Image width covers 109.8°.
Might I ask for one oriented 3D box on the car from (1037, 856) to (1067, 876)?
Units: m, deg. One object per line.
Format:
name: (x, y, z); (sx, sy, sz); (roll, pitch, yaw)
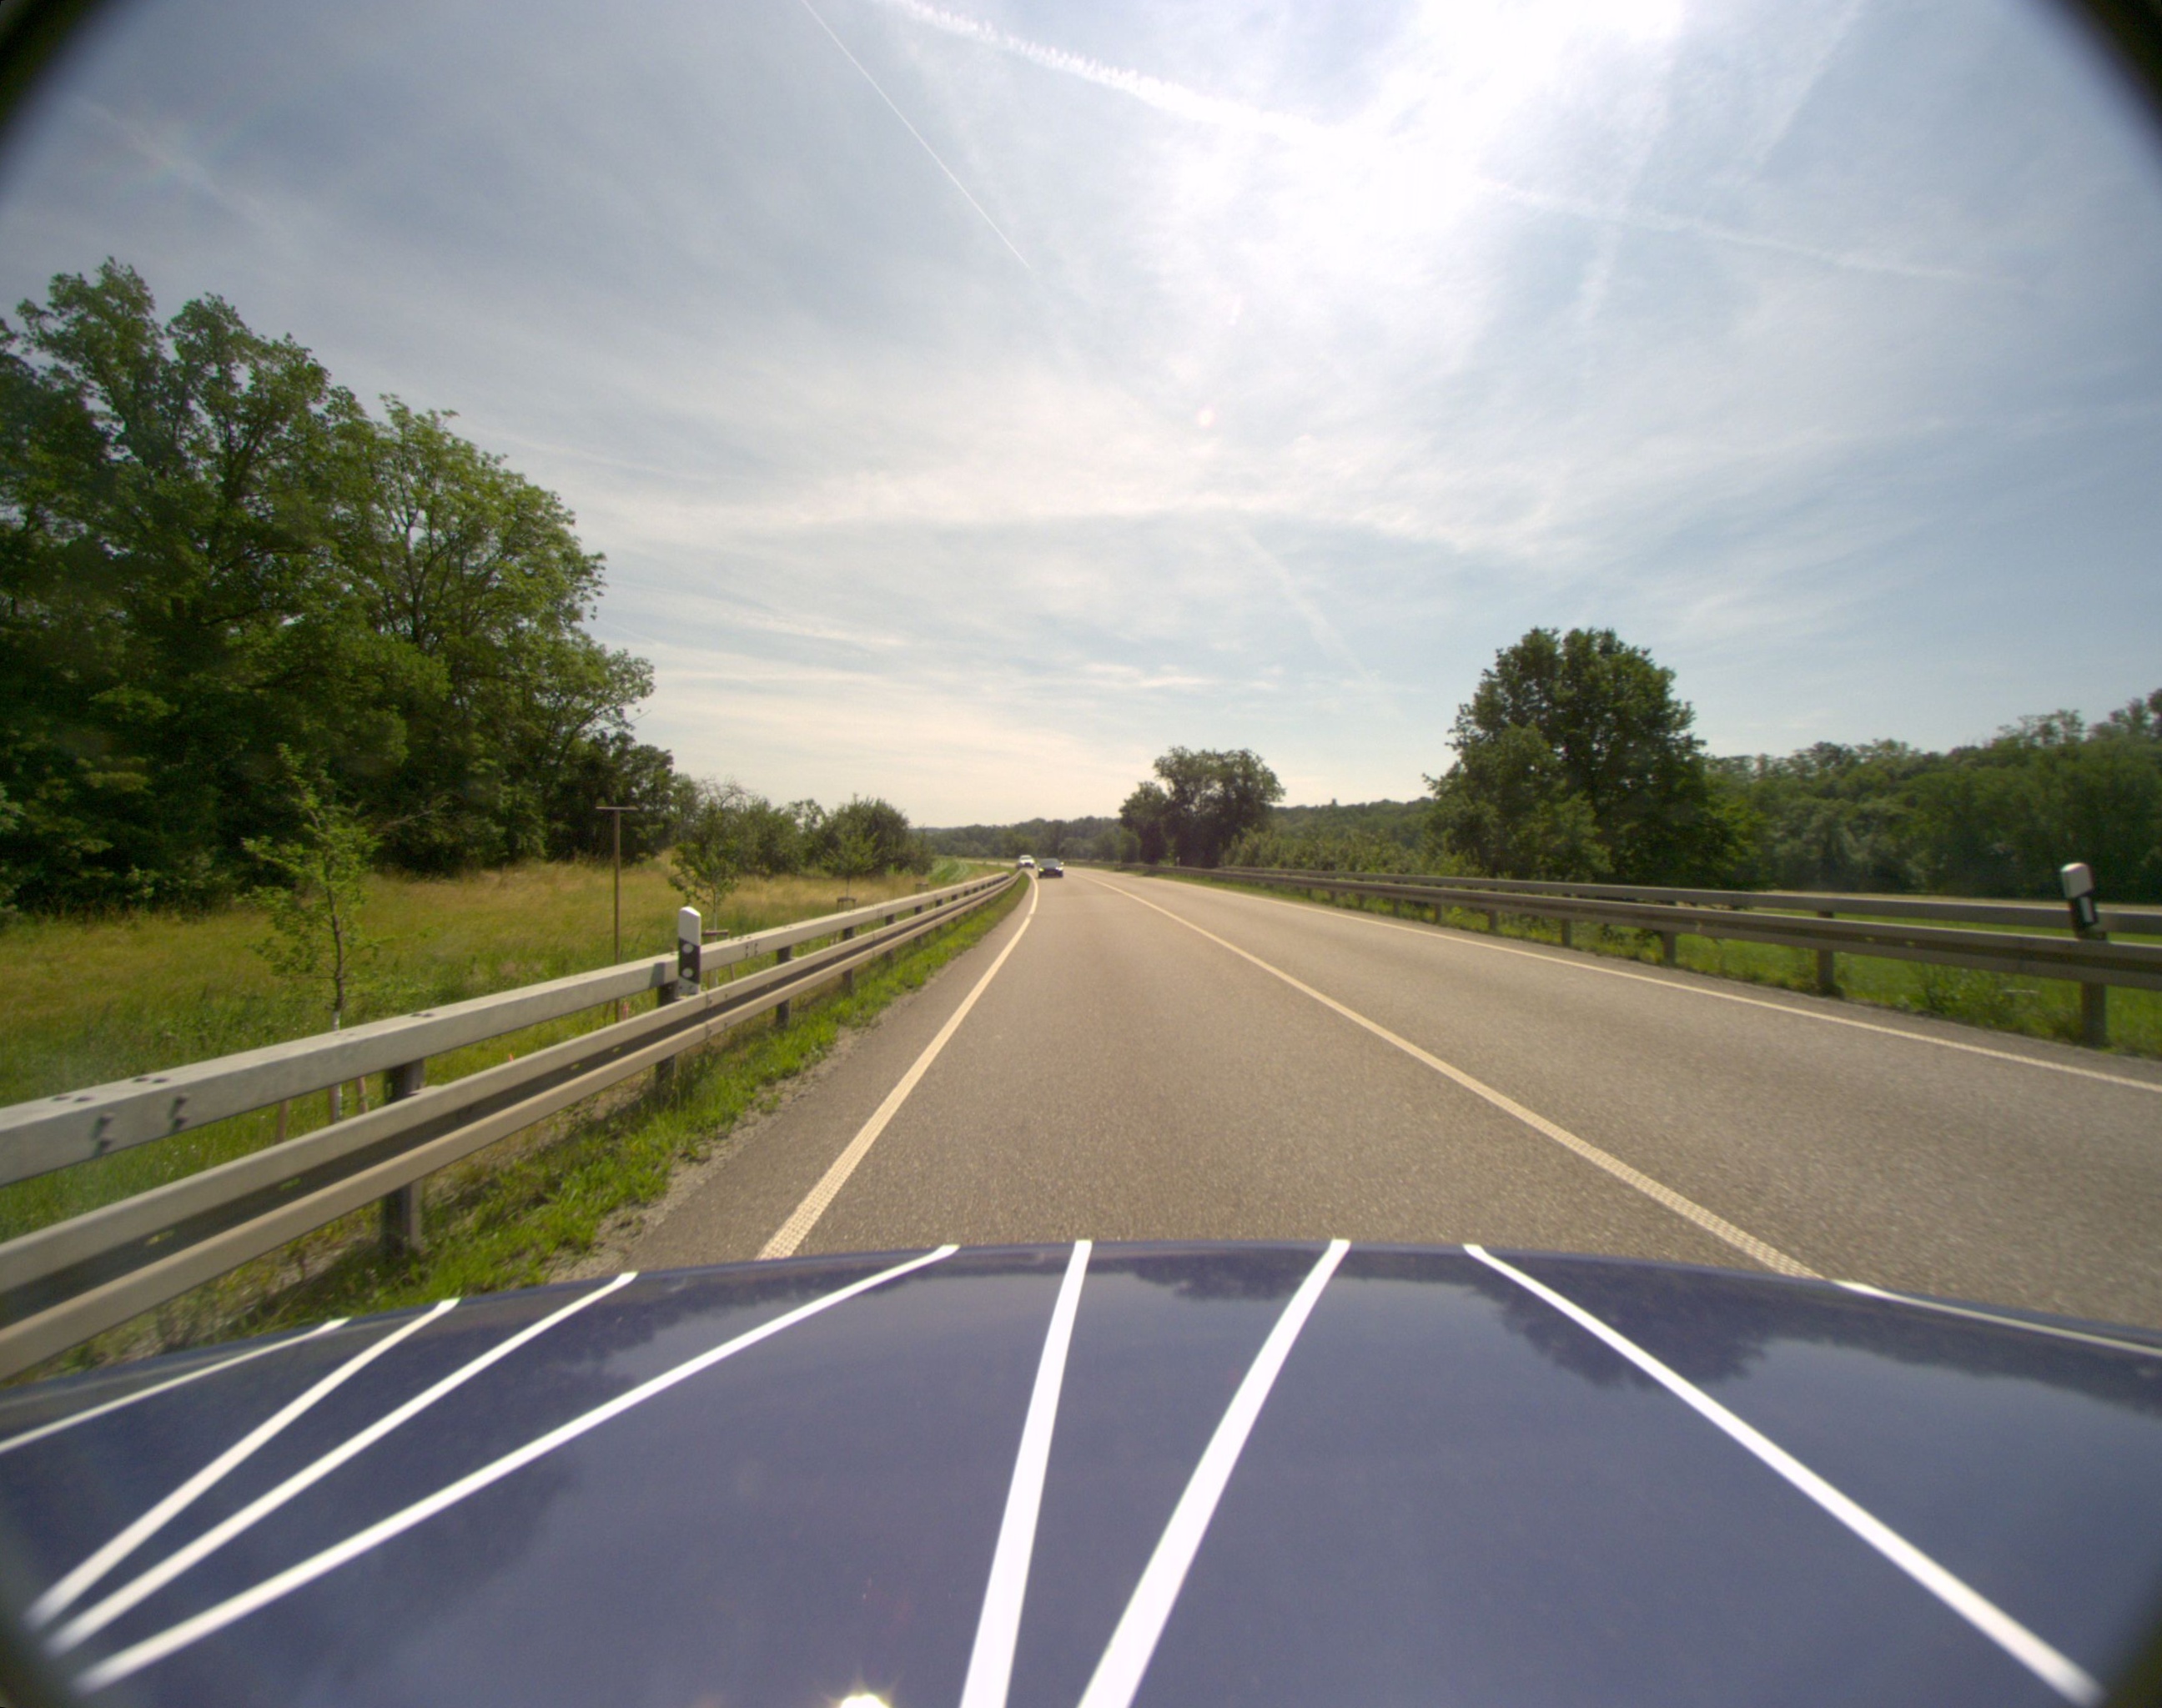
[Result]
car: (-2.207, 0.874, 56.754); (1.981, 1.333, 3.997); (-2, 1, -6)

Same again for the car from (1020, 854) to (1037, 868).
car: (-6.806, 0.895, 98.575); (1.981, 1.779, 3.997); (-2, 1, -6)
